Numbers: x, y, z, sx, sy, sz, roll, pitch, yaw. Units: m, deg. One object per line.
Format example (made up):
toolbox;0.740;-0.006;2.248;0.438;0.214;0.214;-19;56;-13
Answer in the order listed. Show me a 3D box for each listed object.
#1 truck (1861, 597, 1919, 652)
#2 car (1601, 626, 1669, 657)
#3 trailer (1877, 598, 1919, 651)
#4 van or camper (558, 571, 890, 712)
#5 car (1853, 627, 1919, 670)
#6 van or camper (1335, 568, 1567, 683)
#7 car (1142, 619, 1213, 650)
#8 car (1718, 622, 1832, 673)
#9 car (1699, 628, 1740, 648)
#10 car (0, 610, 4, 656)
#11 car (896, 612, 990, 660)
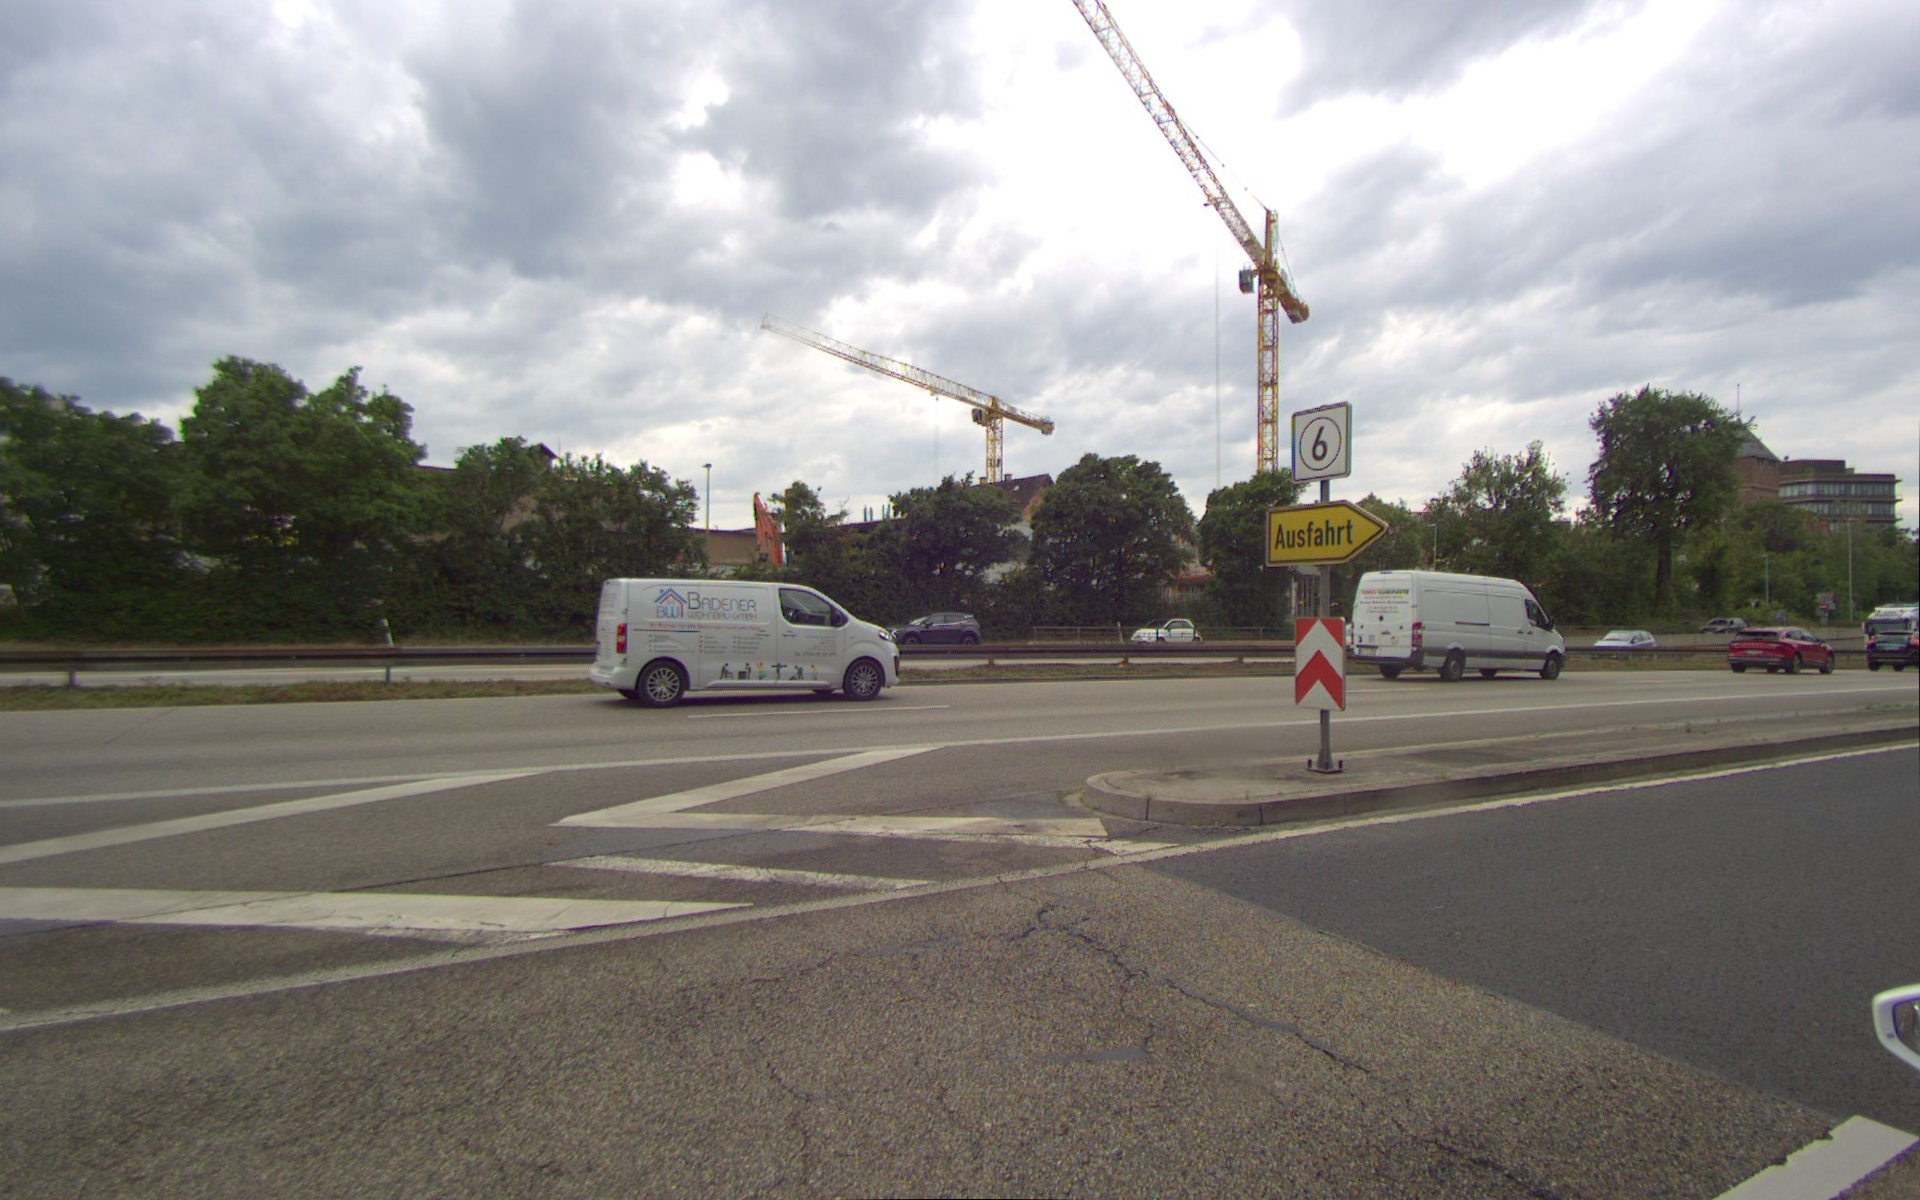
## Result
truck;68.038;1.776;72.943;4.722;3.818;2.580;1;-1;-31
car;34.793;2.130;51.769;3.584;1.510;1.589;1;-1;-31
trailer;74.751;1.885;76.934;14.555;3.807;2.578;1;-1;-31
van or camper;-3.671;0.622;15.910;4.794;1.945;1.911;1;-1;-30
car;39.034;1.970;41.641;4.258;1.704;1.880;1;-1;-32
van or camper;12.783;0.663;25.936;6.877;2.656;2.039;1;-1;-31
car;10.382;1.616;47.929;3.382;1.426;1.327;1;-1;-32
car;28.617;1.638;35.258;4.217;1.657;1.743;1;0;-30
car;58.260;2.910;77.007;3.331;1.545;1.340;1;-1;-31
car;-26.283;0.828;24.931;3.400;1.209;1.532;1;-1;-32
car;-0.662;1.458;41.089;3.582;1.863;1.547;1;-1;-33
